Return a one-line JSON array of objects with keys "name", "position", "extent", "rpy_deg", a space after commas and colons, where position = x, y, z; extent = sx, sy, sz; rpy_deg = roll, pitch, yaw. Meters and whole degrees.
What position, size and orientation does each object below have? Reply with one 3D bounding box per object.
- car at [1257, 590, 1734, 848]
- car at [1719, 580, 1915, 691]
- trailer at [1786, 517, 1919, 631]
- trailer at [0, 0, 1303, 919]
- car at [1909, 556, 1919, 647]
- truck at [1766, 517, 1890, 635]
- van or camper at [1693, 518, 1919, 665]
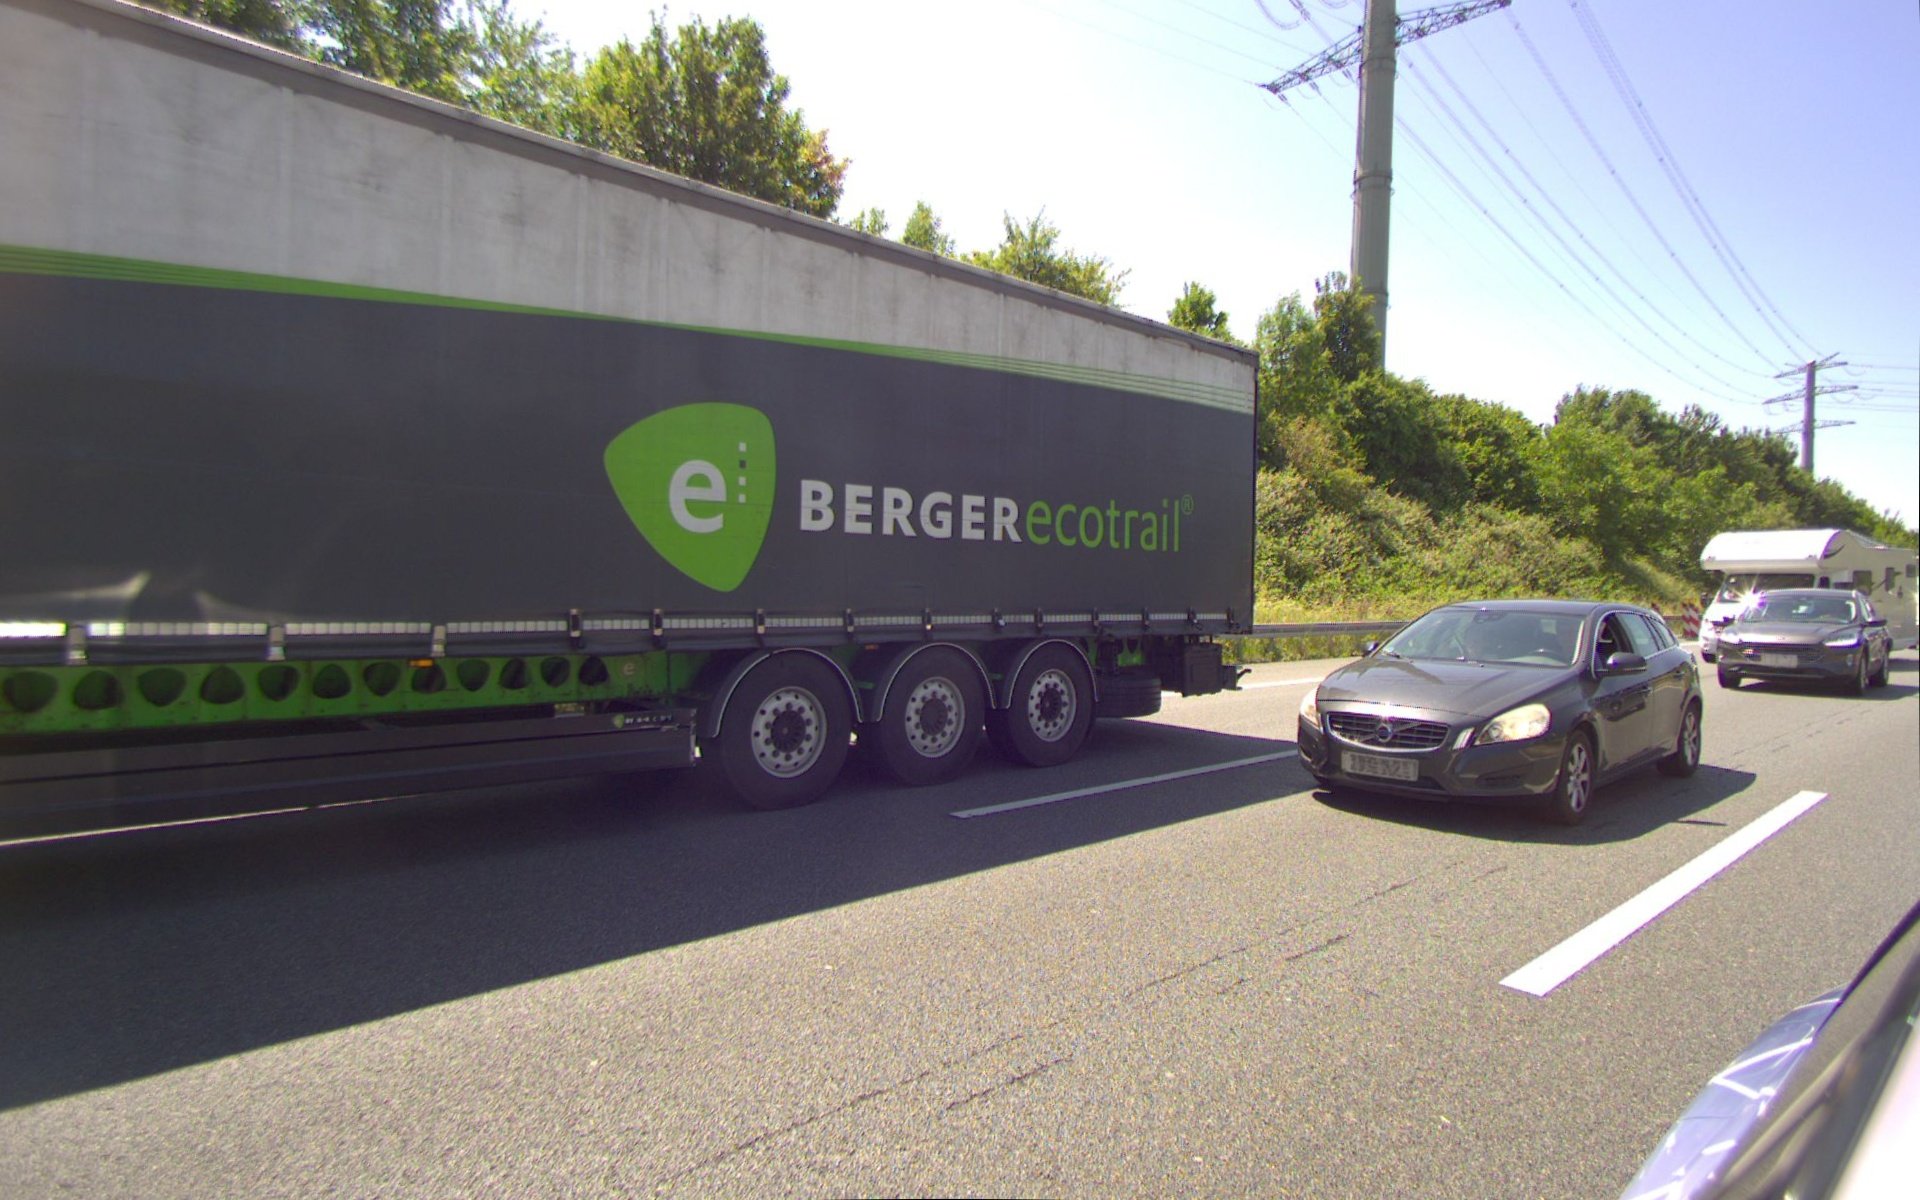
[{"name": "car", "position": [4.334, 0.656, 7.856], "extent": [4.431, 1.437, 1.798], "rpy_deg": [-1, 0, -41]}, {"name": "car", "position": [14.391, 0.500, 16.917], "extent": [4.146, 1.631, 1.892], "rpy_deg": [-1, 0, -41]}, {"name": "trailer", "position": [38.581, -1.034, 43.395], "extent": [12.653, 4.317, 2.772], "rpy_deg": [-1, 0, -41]}, {"name": "trailer", "position": [-2.345, -0.849, 6.954], "extent": [12.882, 4.098, 2.788], "rpy_deg": [-1, 0, -41]}, {"name": "car", "position": [32.059, 0.018, 32.200], "extent": [6.589, 2.753, 2.041], "rpy_deg": [-1, 0, -41]}, {"name": "truck", "position": [33.448, -0.887, 38.946], "extent": [5.538, 4.197, 2.790], "rpy_deg": [0, 0, -41]}, {"name": "van or camper", "position": [20.652, -0.216, 24.235], "extent": [7.482, 3.082, 2.378], "rpy_deg": [-1, 0, -32]}]
